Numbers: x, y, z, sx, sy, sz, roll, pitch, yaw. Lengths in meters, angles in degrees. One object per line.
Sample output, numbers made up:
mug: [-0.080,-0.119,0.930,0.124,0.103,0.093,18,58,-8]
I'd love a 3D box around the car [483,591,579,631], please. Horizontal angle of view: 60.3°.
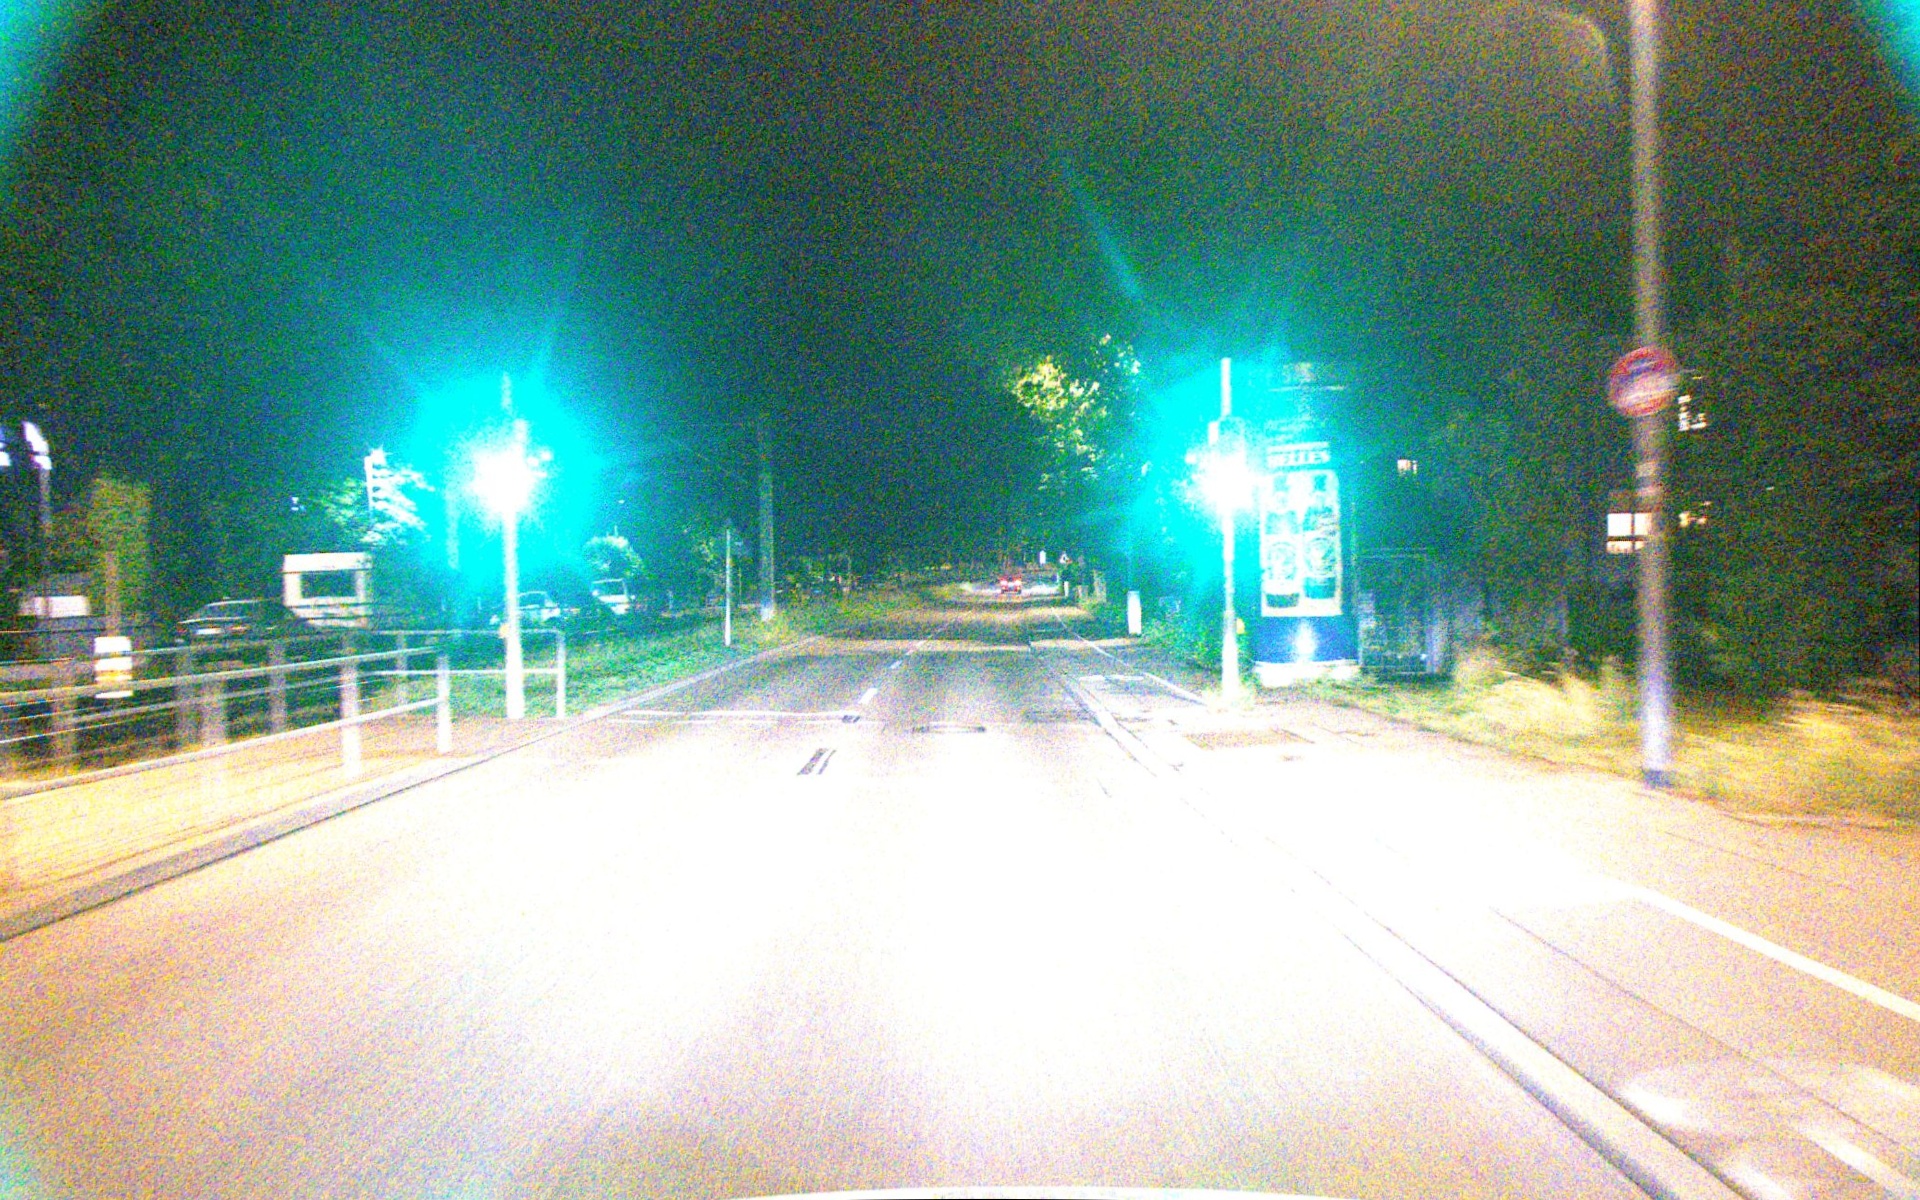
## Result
car: [-15.025,0.383,58.004,2.968,1.349,1.533,-1,0,-3]

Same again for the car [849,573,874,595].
car: [-9.971,-1.664,168.073,2.049,2.048,4.001,-5,1,2]

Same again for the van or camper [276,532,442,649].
van or camper: [-15.302,-0.260,42.515,2.227,2.693,5.662,-3,1,-2]

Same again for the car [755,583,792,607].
car: [-13.222,-0.390,117.770,1.952,1.656,4.678,-1,1,2]

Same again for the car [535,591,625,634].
car: [-14.520,0.448,63.499,1.862,1.549,5.174,-1,0,5]

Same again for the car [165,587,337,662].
car: [-15.344,0.482,36.086,1.612,1.362,4.544,-5,1,1]

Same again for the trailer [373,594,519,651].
trailer: [-15.255,0.638,49.386,2.369,1.398,4.659,-5,0,7]

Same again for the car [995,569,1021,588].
car: [4.274,-1.901,147.174,2.117,1.610,4.013,0,0,-1]

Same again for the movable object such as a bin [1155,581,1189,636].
movable object such as a bin: [4.798,0.179,37.401,0.708,1.221,0.720,-1,0,9]

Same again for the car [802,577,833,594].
car: [-11.811,-1.219,137.575,1.952,1.361,5.433,-1,1,2]

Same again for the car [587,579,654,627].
car: [-14.220,0.109,69.575,1.819,1.937,4.879,-1,0,-1]
